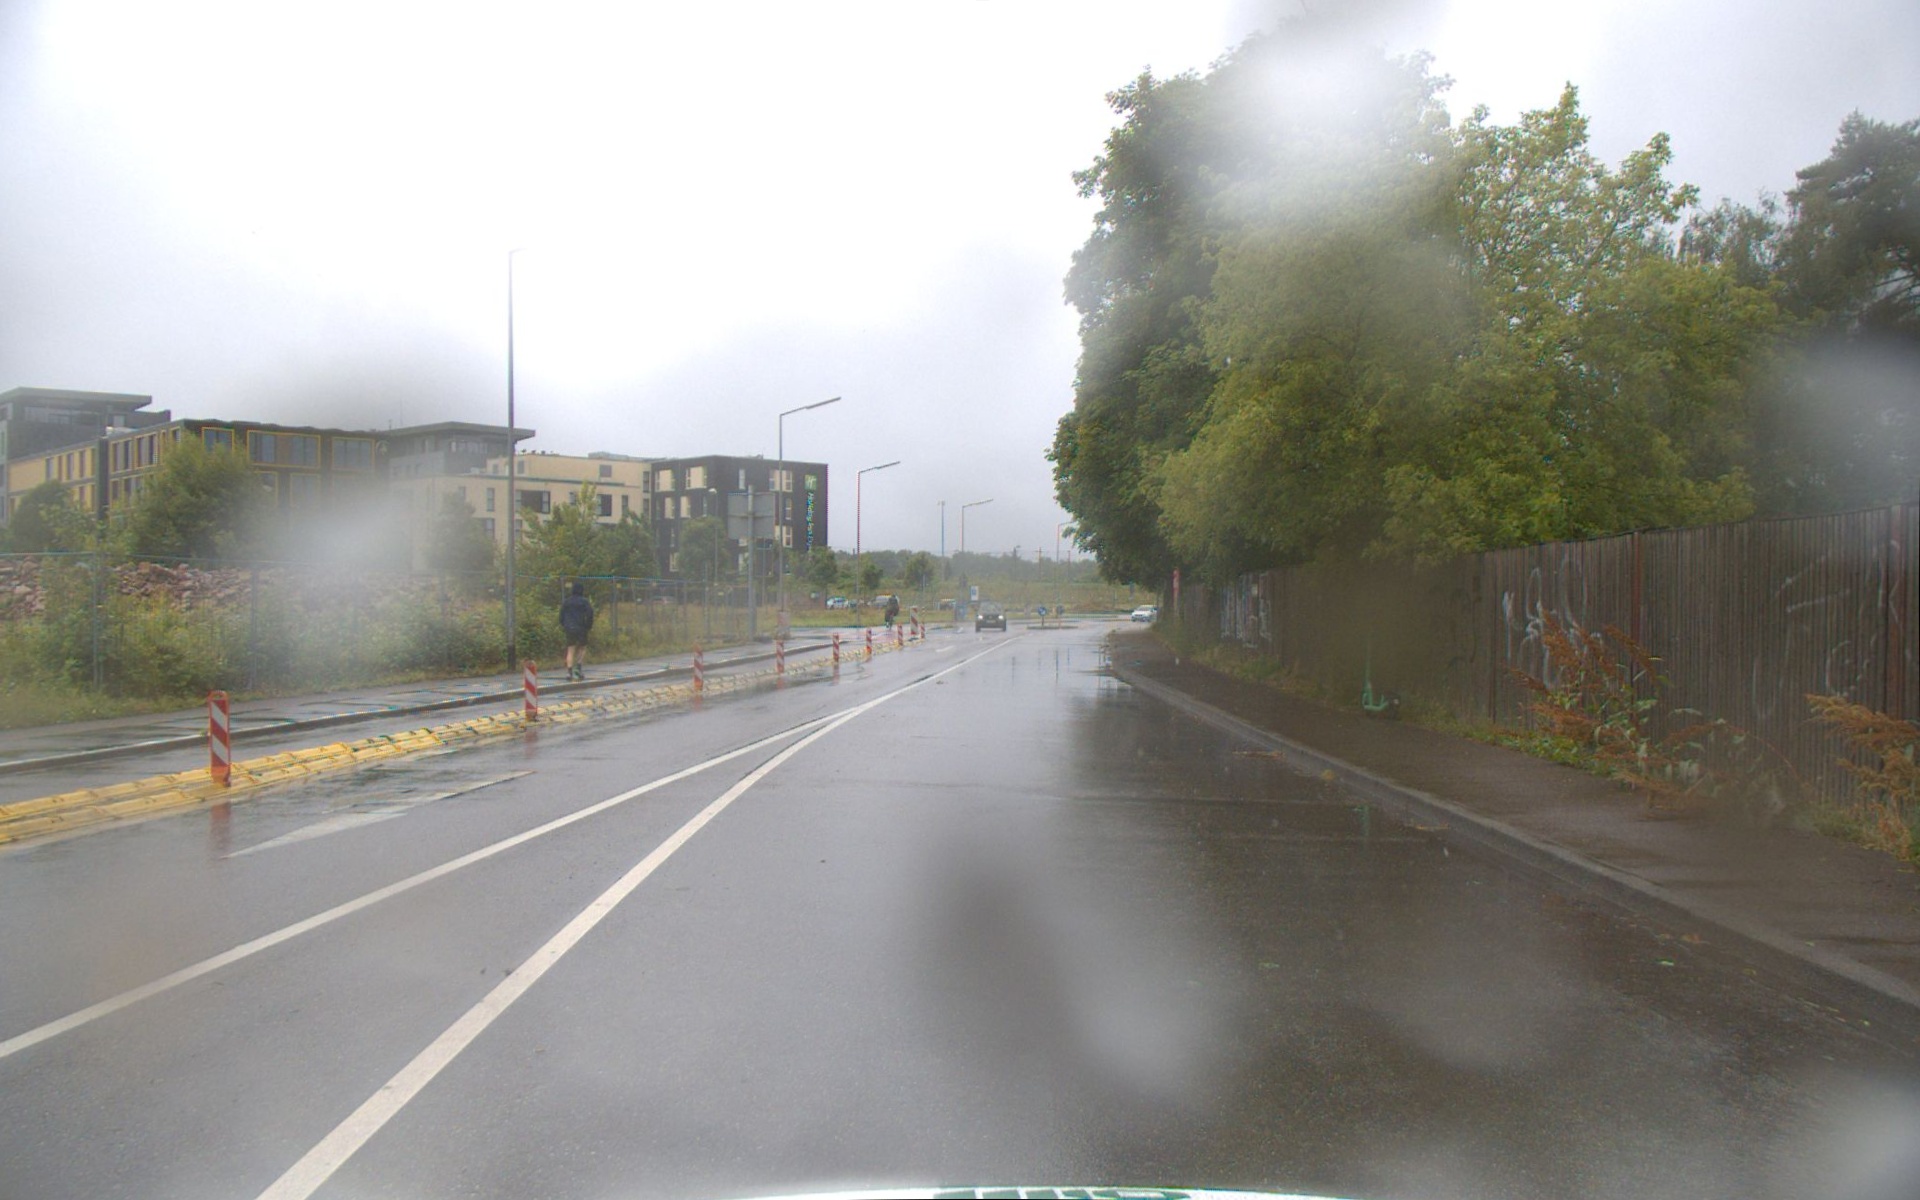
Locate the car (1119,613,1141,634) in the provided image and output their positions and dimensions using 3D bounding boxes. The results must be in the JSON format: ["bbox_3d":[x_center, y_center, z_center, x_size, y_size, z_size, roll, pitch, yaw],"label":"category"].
[{"bbox_3d":[15.644,2.170,151.849,1.951,1.803,4.002,0,-2,7],"label":"car"}]

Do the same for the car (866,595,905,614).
[{"bbox_3d":[-8.142,0.505,180.425,3.962,1.803,1.971,2,-3,-40],"label":"car"}]

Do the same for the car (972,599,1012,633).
[{"bbox_3d":[1.734,0.858,88.773,1.952,1.803,4.002,0,0,4],"label":"car"}]

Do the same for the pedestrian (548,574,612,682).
[{"bbox_3d":[-7.313,0.549,31.878,0.828,2.049,1.132,0,-3,8],"label":"pedestrian"}]

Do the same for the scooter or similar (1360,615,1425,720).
[{"bbox_3d":[5.335,0.810,20.439,0.481,1.256,1.370,0,-1,2],"label":"scooter or similar"}]

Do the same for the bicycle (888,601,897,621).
[{"bbox_3d":[-3.594,0.573,88.224,0.418,1.037,1.612,1,0,-1],"label":"bicycle"}]

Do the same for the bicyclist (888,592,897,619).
[{"bbox_3d":[-3.612,0.315,88.302,0.434,1.428,0.550,0,-3,1],"label":"bicyclist"}]
